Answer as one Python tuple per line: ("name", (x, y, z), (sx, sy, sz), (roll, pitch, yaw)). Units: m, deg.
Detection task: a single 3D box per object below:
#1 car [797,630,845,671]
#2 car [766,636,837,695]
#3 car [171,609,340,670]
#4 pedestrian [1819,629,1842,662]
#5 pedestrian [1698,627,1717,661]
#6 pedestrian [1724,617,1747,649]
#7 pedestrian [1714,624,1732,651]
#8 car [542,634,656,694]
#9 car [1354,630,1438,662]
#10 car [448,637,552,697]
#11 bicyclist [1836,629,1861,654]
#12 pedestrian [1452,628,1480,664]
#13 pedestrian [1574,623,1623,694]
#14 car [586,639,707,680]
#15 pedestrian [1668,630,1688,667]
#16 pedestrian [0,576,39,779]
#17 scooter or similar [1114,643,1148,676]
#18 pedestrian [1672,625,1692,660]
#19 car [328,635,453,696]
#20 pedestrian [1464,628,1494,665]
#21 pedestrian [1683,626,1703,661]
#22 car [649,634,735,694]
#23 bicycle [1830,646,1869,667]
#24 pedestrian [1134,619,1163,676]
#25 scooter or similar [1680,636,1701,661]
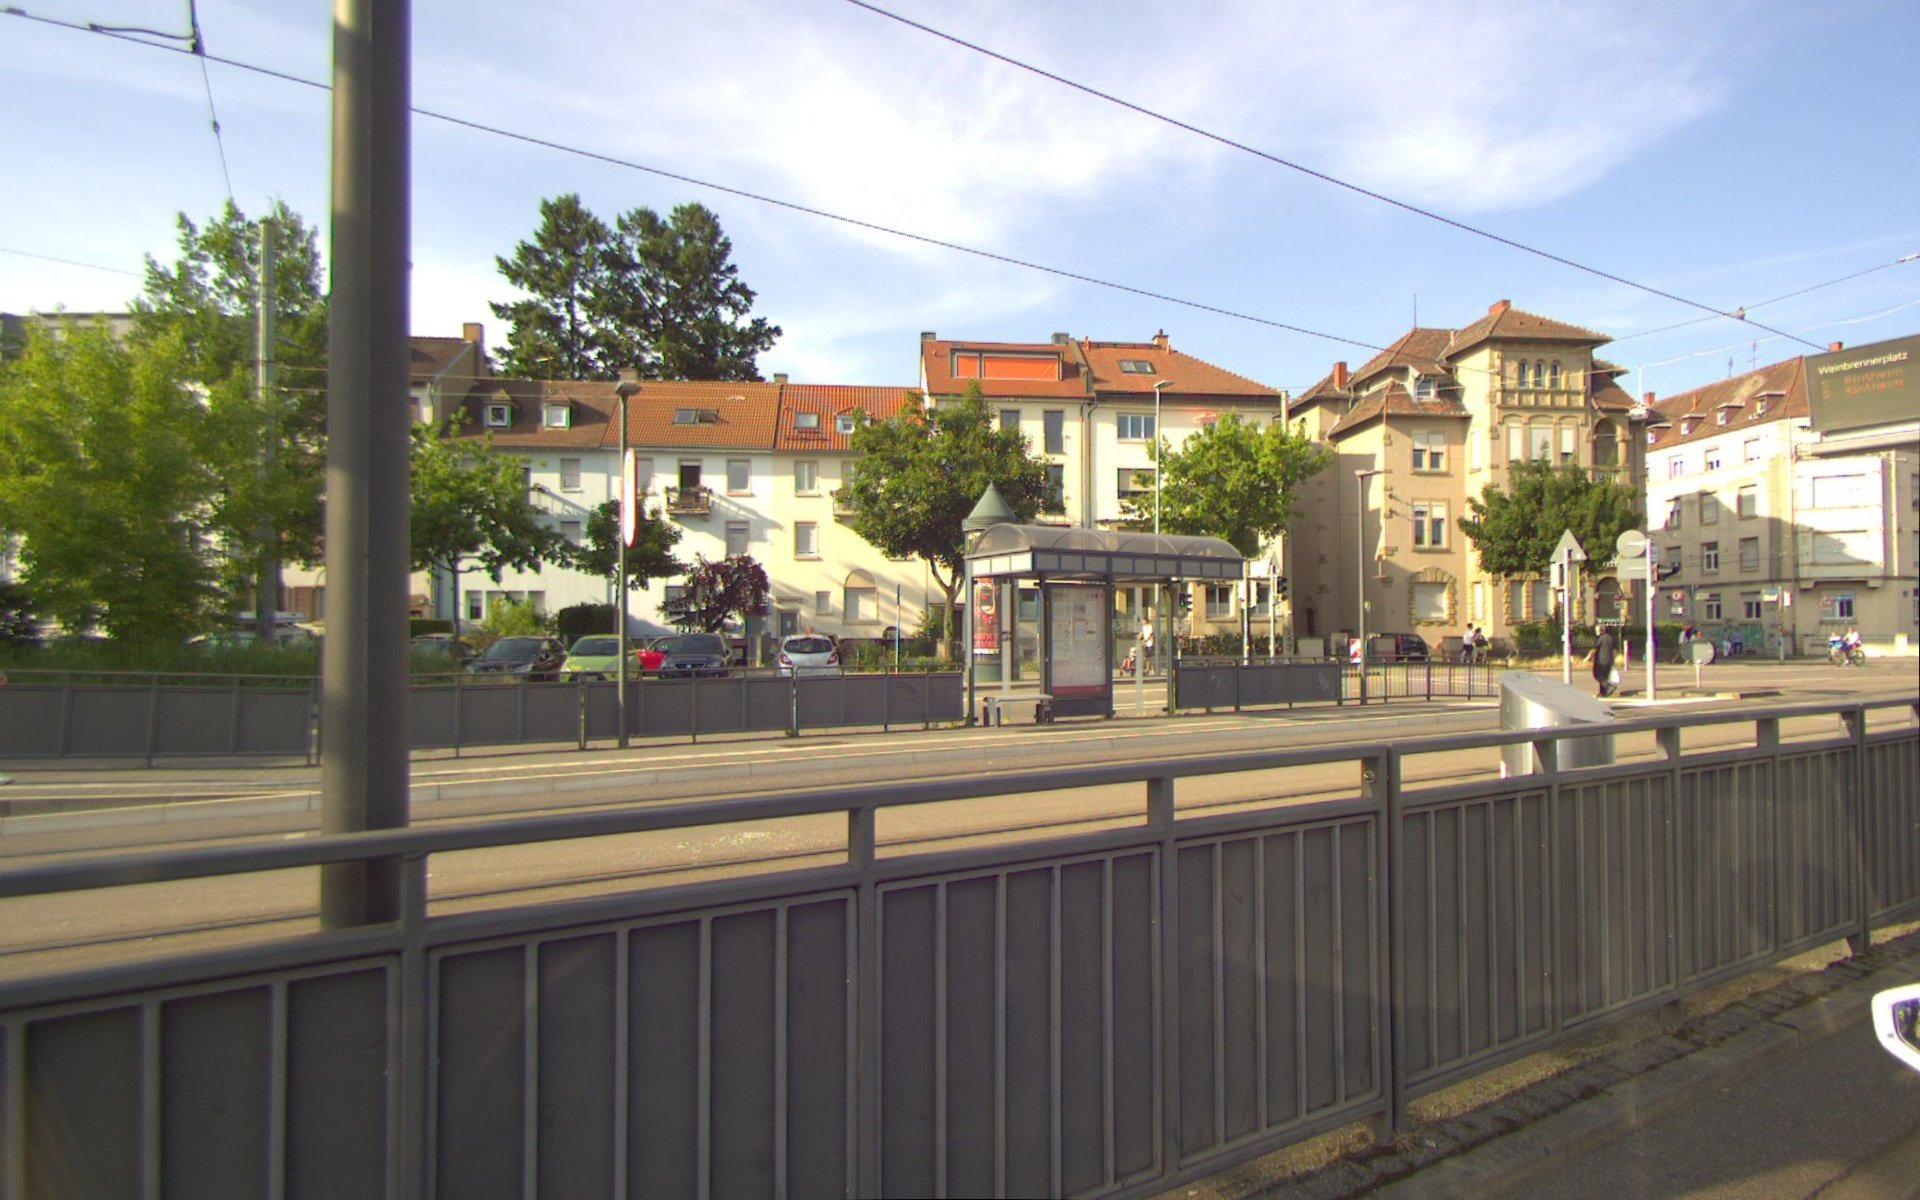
("car", (-6.071, 2.192, 44.189), (1.962, 1.684, 3.997), (0, -2, -6))
("car", (-4.362, 1.757, 27.806), (1.815, 1.505, 3.995), (0, -2, -9))
("car", (-18.663, 1.059, 26.855), (1.813, 1.505, 3.999), (0, -2, -3))
("pedestrian", (42.121, 2.209, 48.606), (0.702, 1.561, 0.626), (1, -2, -30))
("pedestrian", (33.308, 1.964, 44.755), (0.382, 1.520, 0.535), (0, -2, -15))
("pedestrian", (48.715, 2.070, 63.083), (0.773, 2.040, 0.775), (0, -2, -15))
("pedestrian", (47.828, 2.344, 62.972), (0.576, 1.682, 0.620), (0, -2, -14))
("car", (-9.690, 1.684, 27.283), (1.813, 1.505, 3.999), (0, -2, -3))
("car", (20.357, 2.122, 47.110), (1.732, 1.327, 4.111), (1, 0, -7))
("car", (-11.896, 1.681, 26.236), (1.968, 1.416, 3.986), (0, -2, -18))
("bicyclist", (37.123, 1.734, 41.956), (0.669, 1.058, 0.512), (0, -2, -22))
("pedestrian", (22.286, 2.024, 44.258), (0.768, 1.572, 0.831), (0, -2, -8))
("pedestrian", (15.322, 1.398, 24.130), (0.778, 1.667, 0.757), (-1, -2, 16))
("car", (-11.239, 2.126, 36.229), (3.927, 1.416, 1.836), (0, -2, -9))
("pedestrian", (31.993, 2.157, 44.764), (0.601, 1.647, 0.506), (1, -2, -29))
("pedestrian", (-8.507, 0.670, 8.518), (0.867, 1.706, 0.551), (1, -5, -30))
("scooter or similar", (5.226, 1.805, 30.612), (0.550, 1.001, 1.017), (-2, -2, 44))
("pedestrian", (31.794, 1.878, 44.217), (0.540, 1.520, 0.437), (0, -2, -15))
("car", (-14.371, 1.611, 25.591), (1.968, 1.416, 3.986), (0, -2, -18))
("pedestrian", (22.427, 1.993, 43.416), (0.768, 1.572, 0.831), (0, -2, -8))
("pedestrian", (31.925, 1.878, 43.731), (0.540, 1.520, 0.437), (0, -2, -15))
("car", (-7.179, 1.680, 27.268), (1.815, 1.505, 3.995), (0, -2, -9))
("bicycle", (37.143, 2.350, 41.947), (1.661, 0.845, 0.525), (1, -2, -21))
("pedestrian", (5.857, 1.471, 31.251), (0.758, 1.769, 0.541), (1, -2, -45))
("scooter or similar", (32.703, 2.150, 44.959), (0.675, 1.093, 0.541), (2, 0, -30))
